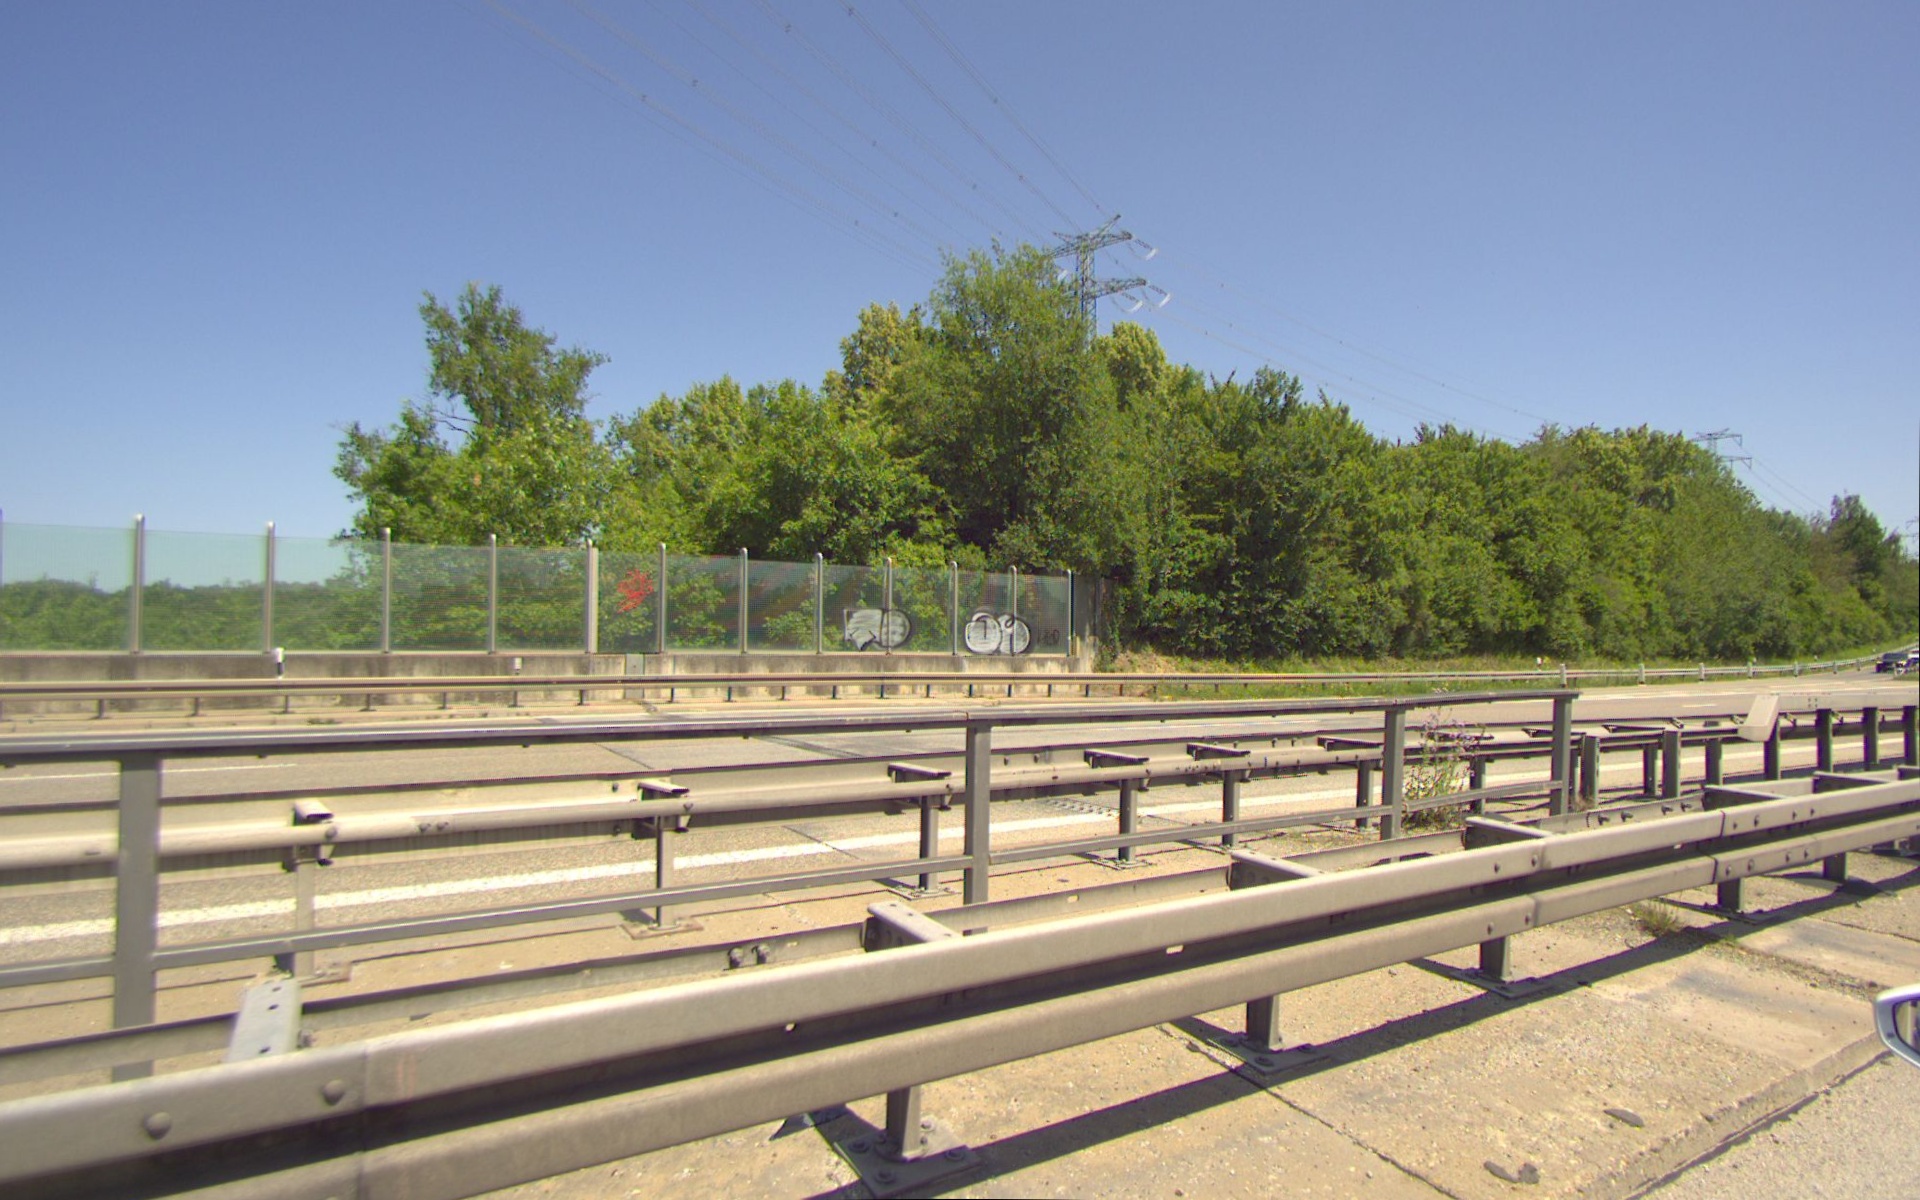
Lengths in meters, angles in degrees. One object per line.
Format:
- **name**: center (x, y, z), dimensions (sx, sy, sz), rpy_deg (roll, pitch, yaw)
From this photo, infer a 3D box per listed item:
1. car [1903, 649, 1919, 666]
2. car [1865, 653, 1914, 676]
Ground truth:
- **car**: center (85.774, 5.196, 89.906), dimensions (4.314, 1.475, 1.670), rpy_deg (3, -1, -42)
- **car**: center (72.029, 4.982, 77.795), dimensions (5.230, 1.597, 1.978), rpy_deg (3, -1, -39)
